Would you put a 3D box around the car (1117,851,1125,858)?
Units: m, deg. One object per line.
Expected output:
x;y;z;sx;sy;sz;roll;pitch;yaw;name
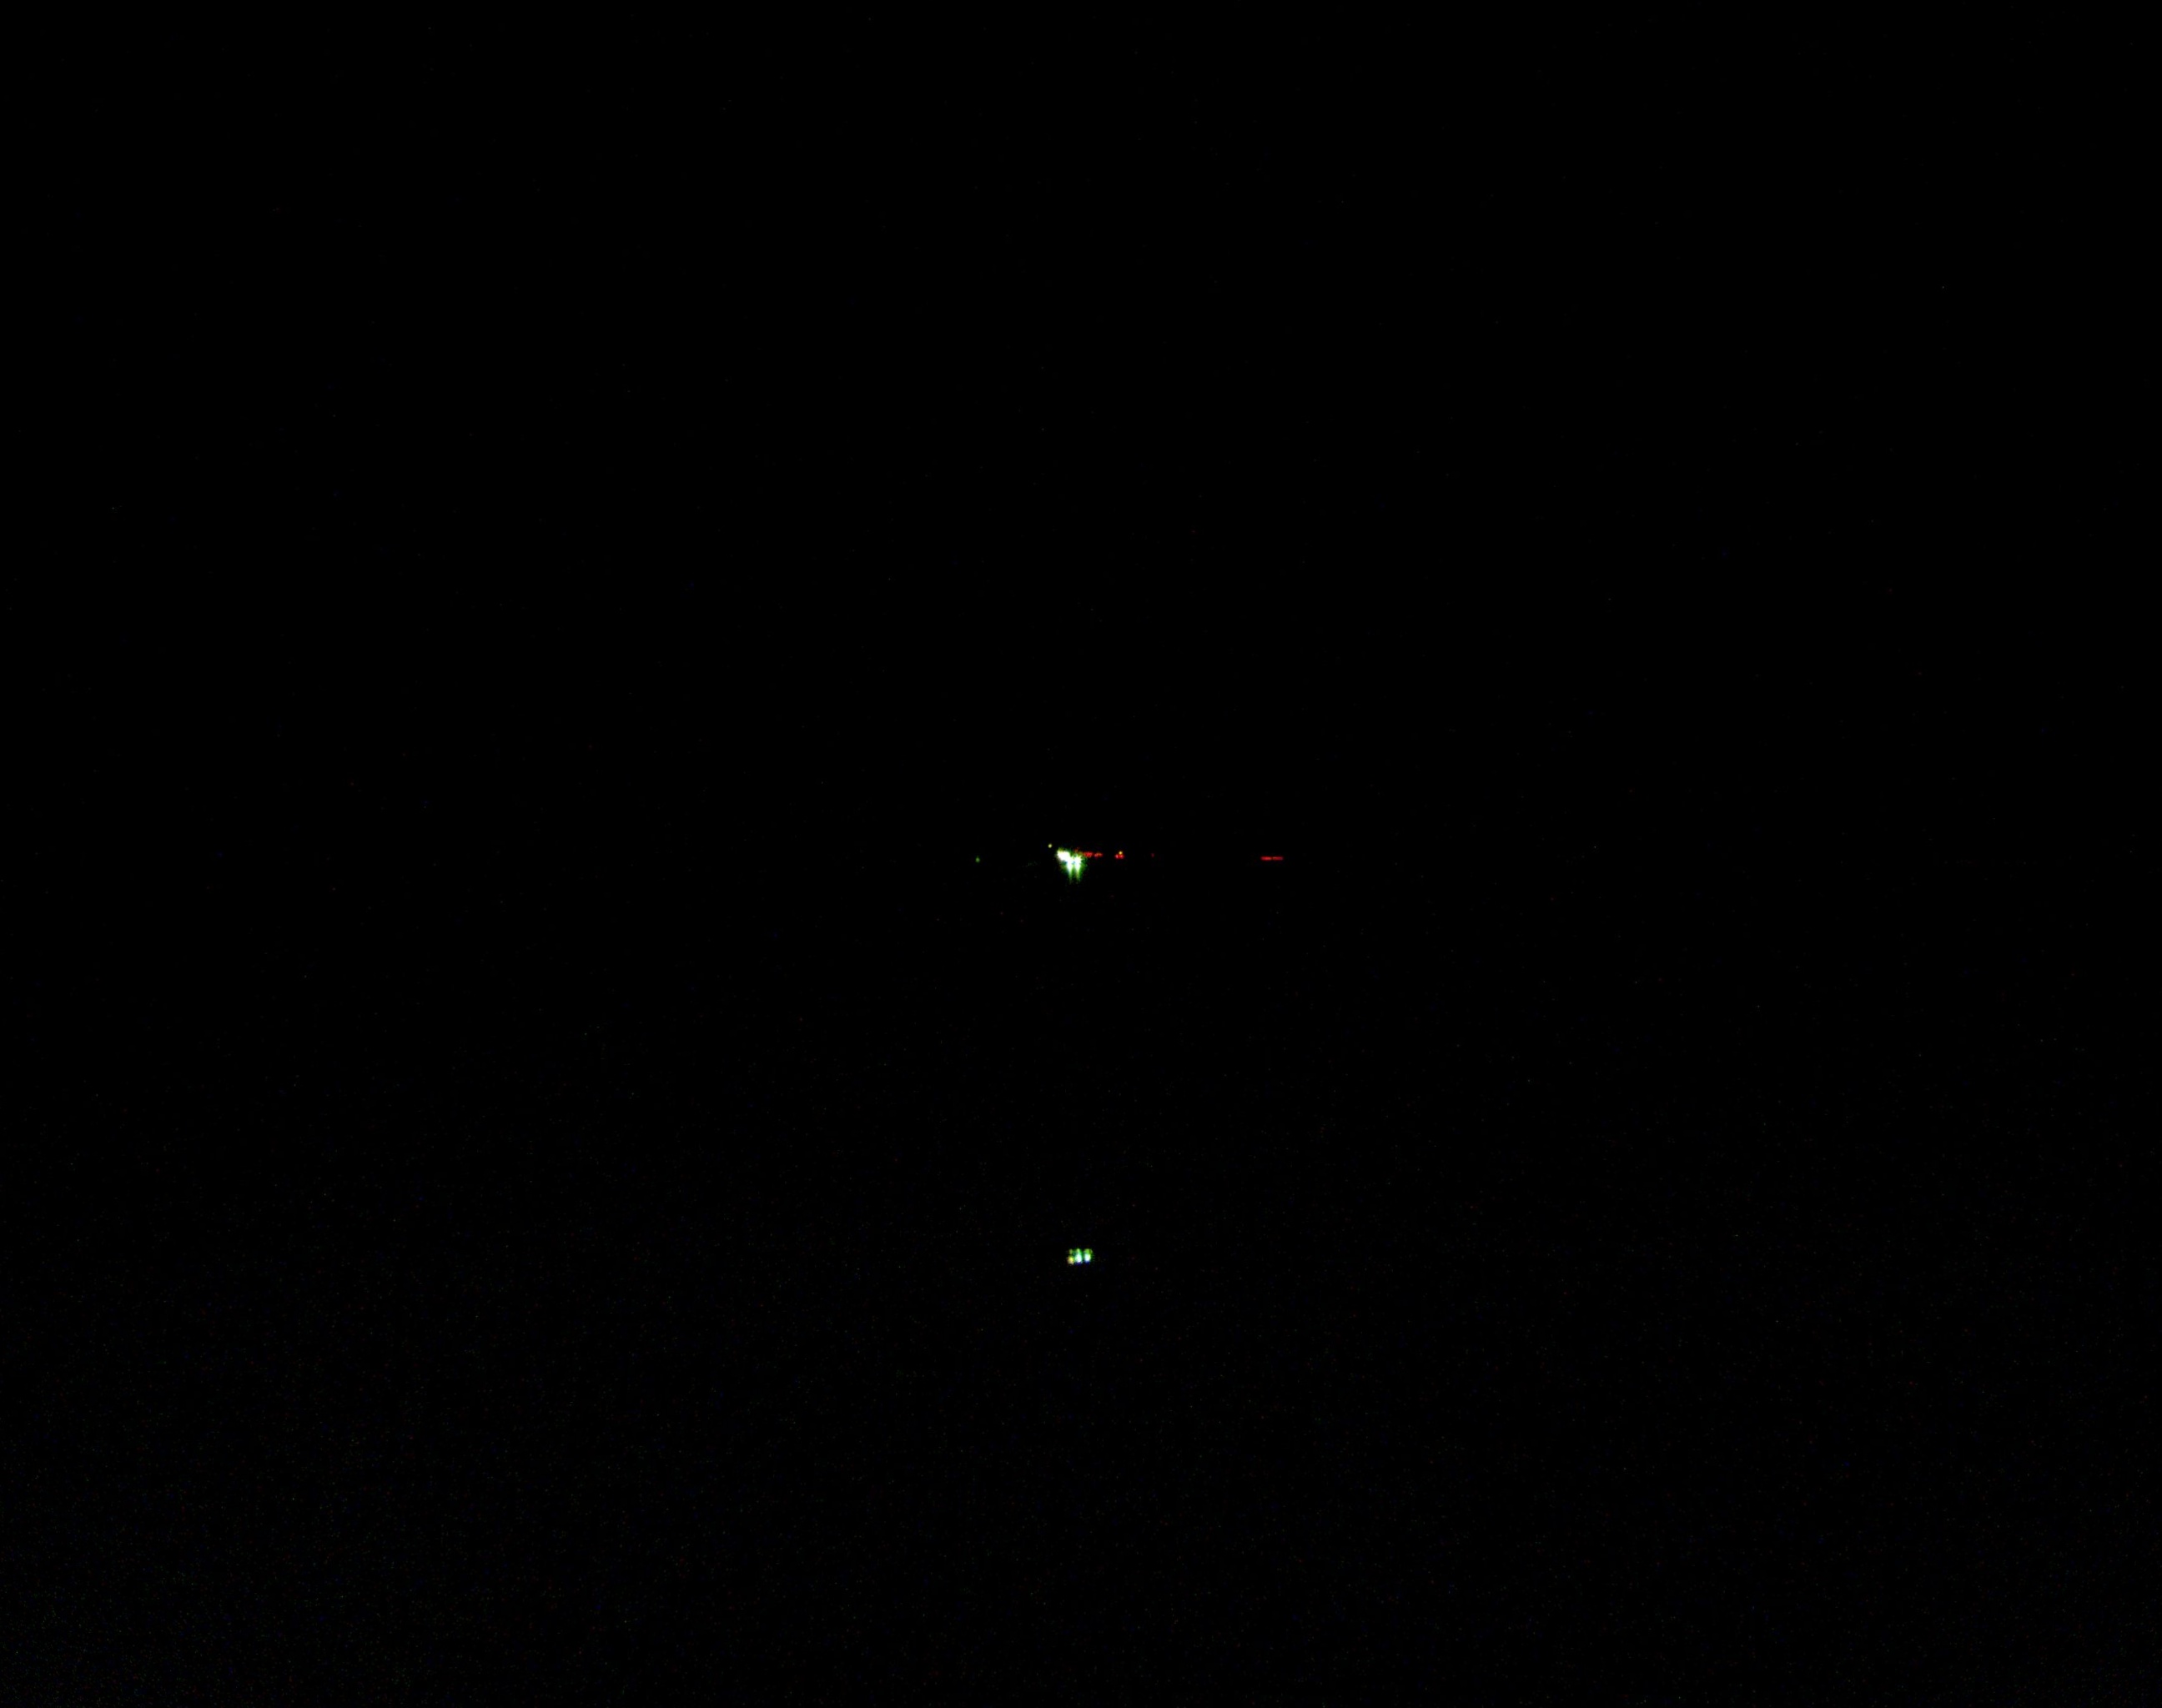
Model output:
12.299;0.256;234.754;1.999;2.002;4.603;-2;1;-3;car

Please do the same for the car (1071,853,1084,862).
-0.628;0.580;133.127;2.154;1.558;4.581;-2;1;0;car

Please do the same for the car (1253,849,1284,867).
18.214;0.372;73.982;1.998;1.593;4.212;-2;1;0;car

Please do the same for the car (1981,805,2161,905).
22.766;-0.011;15.781;2.031;2.002;5.186;-2;1;0;car

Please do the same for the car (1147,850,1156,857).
19.847;-0.126;213.739;1.999;1.767;5.087;-2;1;-3;car
